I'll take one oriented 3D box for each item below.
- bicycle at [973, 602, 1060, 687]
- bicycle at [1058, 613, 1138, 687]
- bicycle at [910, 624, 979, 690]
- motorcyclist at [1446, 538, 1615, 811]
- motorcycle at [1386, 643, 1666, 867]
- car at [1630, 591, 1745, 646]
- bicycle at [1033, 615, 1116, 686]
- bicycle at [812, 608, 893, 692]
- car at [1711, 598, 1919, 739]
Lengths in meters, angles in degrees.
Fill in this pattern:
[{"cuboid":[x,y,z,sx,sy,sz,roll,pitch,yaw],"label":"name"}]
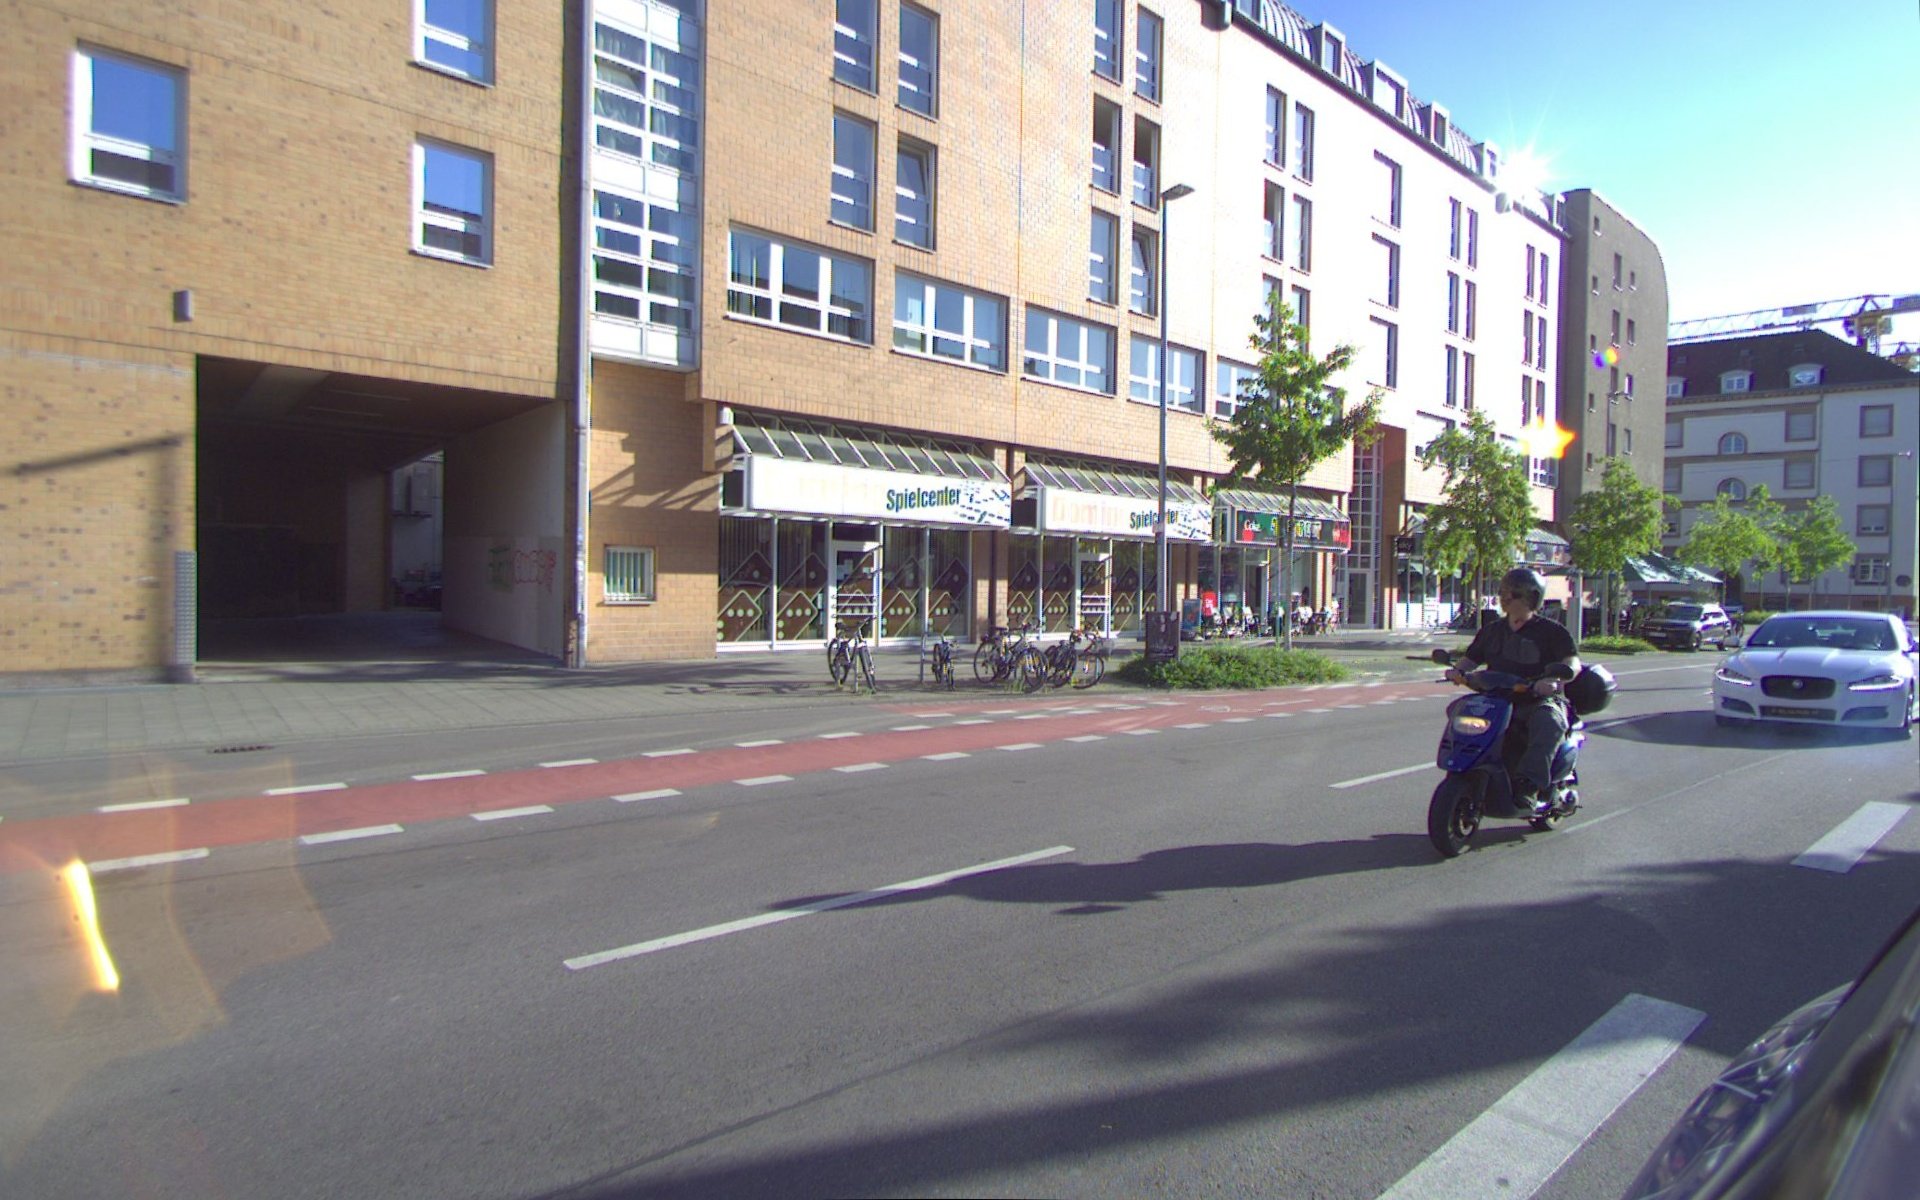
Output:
[{"cuboid":[0.893,0.687,16.495,0.553,1.177,1.843,0,3,-26],"label":"bicycle"},{"cuboid":[2.316,0.817,17.205,0.343,1.069,1.843,0,3,-26],"label":"bicycle"},{"cuboid":[-0.263,0.870,16.060,0.359,0.842,1.779,0,3,-26],"label":"bicycle"},{"cuboid":[3.605,0.434,6.414,0.520,1.600,0.797,-1,0,-41],"label":"motorcyclist"},{"cuboid":[3.681,0.871,6.469,2.334,1.063,0.805,-1,1,-41],"label":"motorcycle"},{"cuboid":[24.906,0.609,34.623,3.921,1.659,1.782,0,3,-33],"label":"car"},{"cuboid":[1.898,0.815,17.000,0.440,0.997,1.843,0,3,-26],"label":"bicycle"},{"cuboid":[-1.661,0.727,15.458,0.423,1.089,1.776,-1,4,-35],"label":"bicycle"},{"cuboid":[11.191,0.722,12.864,4.376,1.448,1.806,0,1,-42],"label":"car"}]
